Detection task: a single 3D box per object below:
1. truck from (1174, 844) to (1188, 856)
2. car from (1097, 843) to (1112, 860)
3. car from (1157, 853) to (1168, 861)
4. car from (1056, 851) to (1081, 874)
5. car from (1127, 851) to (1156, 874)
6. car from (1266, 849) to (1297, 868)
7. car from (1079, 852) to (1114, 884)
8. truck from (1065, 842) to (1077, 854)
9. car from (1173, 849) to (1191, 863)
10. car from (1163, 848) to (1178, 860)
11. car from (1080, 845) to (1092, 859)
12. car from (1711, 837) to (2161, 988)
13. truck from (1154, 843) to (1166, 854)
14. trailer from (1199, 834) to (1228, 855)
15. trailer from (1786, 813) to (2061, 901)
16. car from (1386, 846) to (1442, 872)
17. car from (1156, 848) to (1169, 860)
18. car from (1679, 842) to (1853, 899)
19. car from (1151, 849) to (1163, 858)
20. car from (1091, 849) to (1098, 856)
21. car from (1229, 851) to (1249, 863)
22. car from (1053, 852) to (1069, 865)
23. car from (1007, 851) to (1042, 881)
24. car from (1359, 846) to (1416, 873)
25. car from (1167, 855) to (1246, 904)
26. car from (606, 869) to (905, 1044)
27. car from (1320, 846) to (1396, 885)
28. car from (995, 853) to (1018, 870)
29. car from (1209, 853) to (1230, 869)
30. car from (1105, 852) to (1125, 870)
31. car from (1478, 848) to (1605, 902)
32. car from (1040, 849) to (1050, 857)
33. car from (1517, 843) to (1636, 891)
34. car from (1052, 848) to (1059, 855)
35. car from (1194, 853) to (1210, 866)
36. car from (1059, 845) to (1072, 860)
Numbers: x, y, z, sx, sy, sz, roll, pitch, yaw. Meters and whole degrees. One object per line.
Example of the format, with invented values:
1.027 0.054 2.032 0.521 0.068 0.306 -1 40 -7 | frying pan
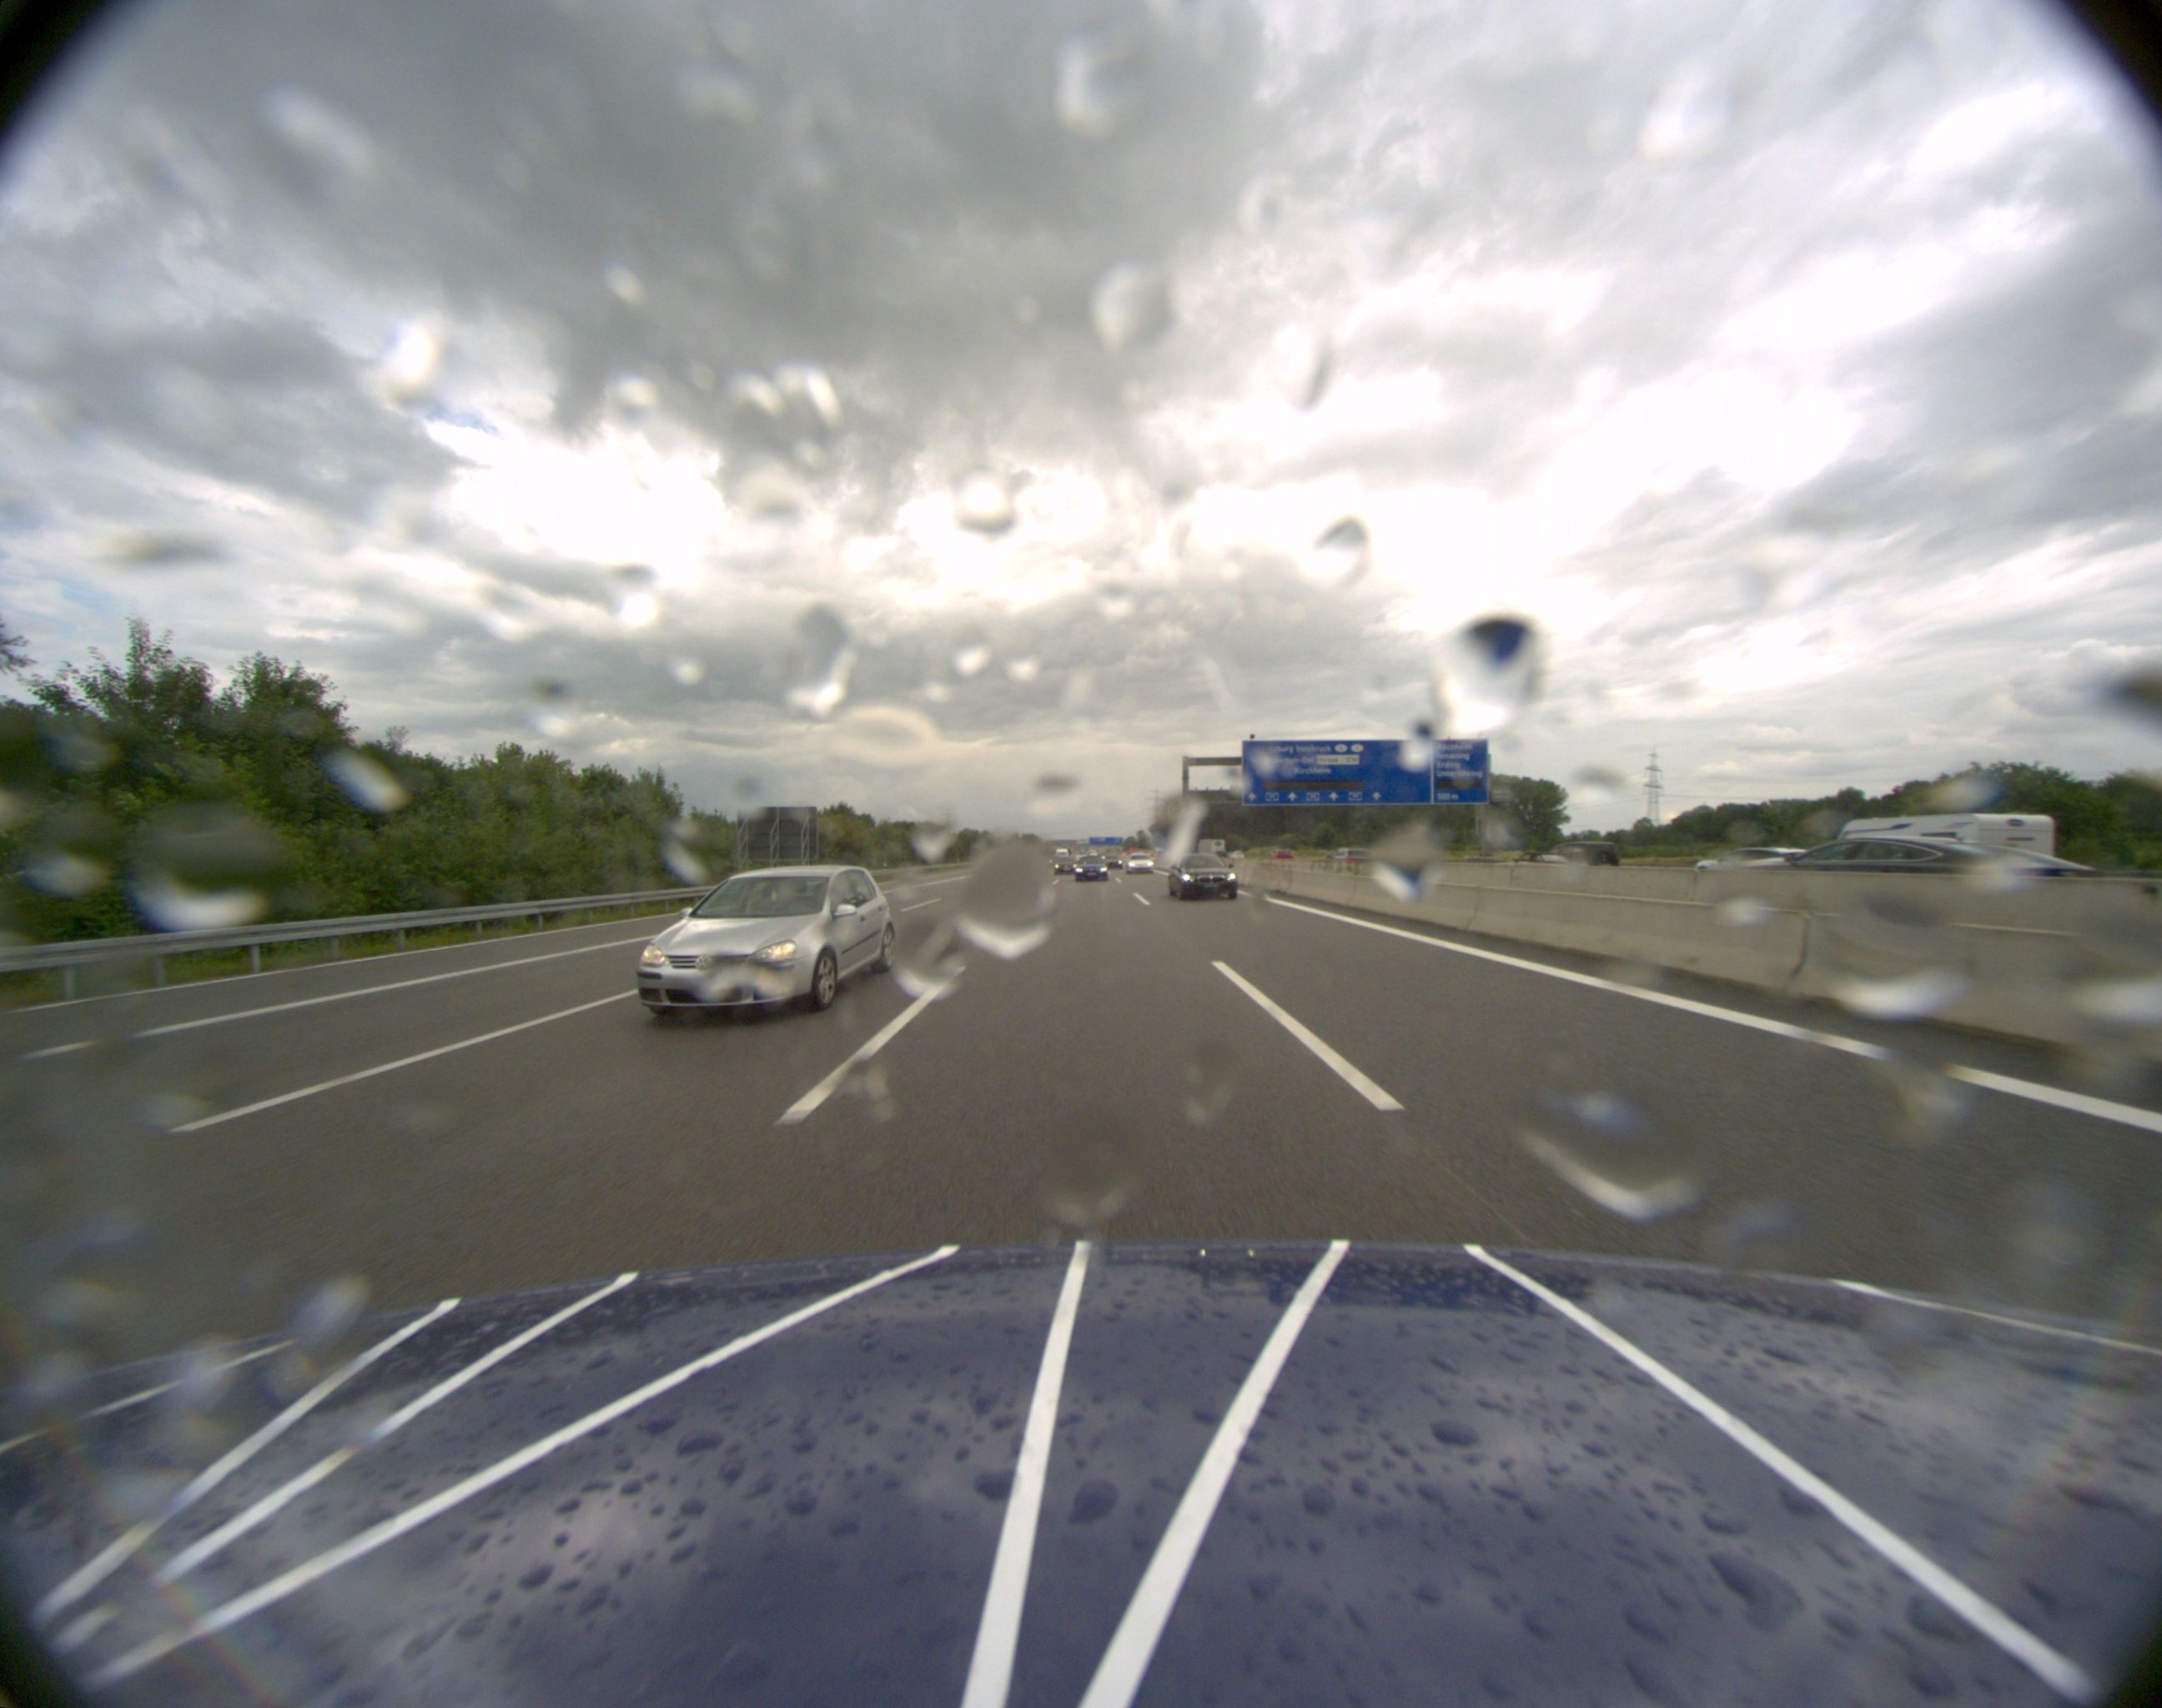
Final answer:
30.265 -1.252 229.621 2.885 3.591 9.580 -2 0 1 | truck
3.528 -0.362 116.165 2.145 2.486 5.448 -2 0 1 | car
19.500 0.683 181.480 1.999 1.705 4.698 -2 0 0 | car
-0.934 0.622 58.559 1.711 1.621 4.457 -2 0 1 | car
4.351 0.560 55.082 1.822 1.565 4.000 -2 0 1 | car
18.657 0.402 70.855 1.682 1.735 4.336 -2 0 0 | car
0.812 0.691 40.214 1.711 1.562 4.346 -2 0 1 | car
-2.352 -1.352 172.997 2.392 2.726 6.591 -2 0 -3 | truck
14.895 0.263 111.900 1.998 2.002 4.760 -2 0 0 | car
14.904 -0.039 126.604 1.998 1.880 4.361 -2 0 0 | car
0.872 -0.414 145.015 2.145 2.486 5.447 -2 0 0 | car
13.601 0.761 12.610 1.998 1.941 5.225 -2 0 1 | car
25.960 -1.772 250.903 2.917 3.271 9.200 -2 0 0 | truck
26.287 -1.833 151.867 3.247 4.005 13.806 -2 0 0 | trailer
25.894 0.072 23.829 2.248 2.361 5.783 -2 0 1 | trailer
26.575 0.382 60.859 2.248 1.941 5.225 -2 0 1 | car
22.571 0.004 211.130 2.667 3.258 6.561 -2 0 -1 | car
25.955 0.568 29.113 1.998 1.941 5.225 -2 0 1 | car
15.511 -0.037 155.197 1.999 1.705 4.871 -2 0 0 | car
3.679 -0.370 209.015 1.998 2.002 4.751 -2 0 1 | car
26.984 0.432 129.873 2.437 1.941 4.828 -2 0 1 | car
-2.346 0.515 90.627 1.711 1.562 4.000 -2 0 1 | car
-3.241 0.648 44.070 1.785 1.603 4.597 -2 0 -2 | car
23.427 0.406 58.346 2.248 1.941 5.225 -2 0 1 | car
3.920 0.747 24.433 1.923 1.407 4.000 -1 0 1 | car
-3.459 0.980 9.021 1.800 1.468 4.037 -2 0 -1 | car
14.863 0.584 41.118 2.248 1.941 5.225 -2 0 1 | car
-7.314 0.678 74.968 1.815 1.589 4.694 -2 0 -2 | car
18.454 0.938 101.515 1.998 2.002 4.760 -2 0 0 | car
3.176 0.636 72.106 1.711 1.621 4.000 -2 0 1 | car
18.439 0.766 30.784 1.998 1.941 5.225 -2 0 1 | car
-7.711 -0.177 163.056 1.892 1.740 4.000 -2 1 1 | car
22.141 0.546 34.272 1.998 1.941 5.225 -2 0 1 | car
-6.966 -0.682 207.951 1.999 2.002 4.354 -2 0 -2 | car
18.625 0.820 116.983 1.888 2.002 4.000 -2 0 1 | car
-2.628 -0.264 131.469 2.145 2.486 5.447 -2 0 -1 | car
